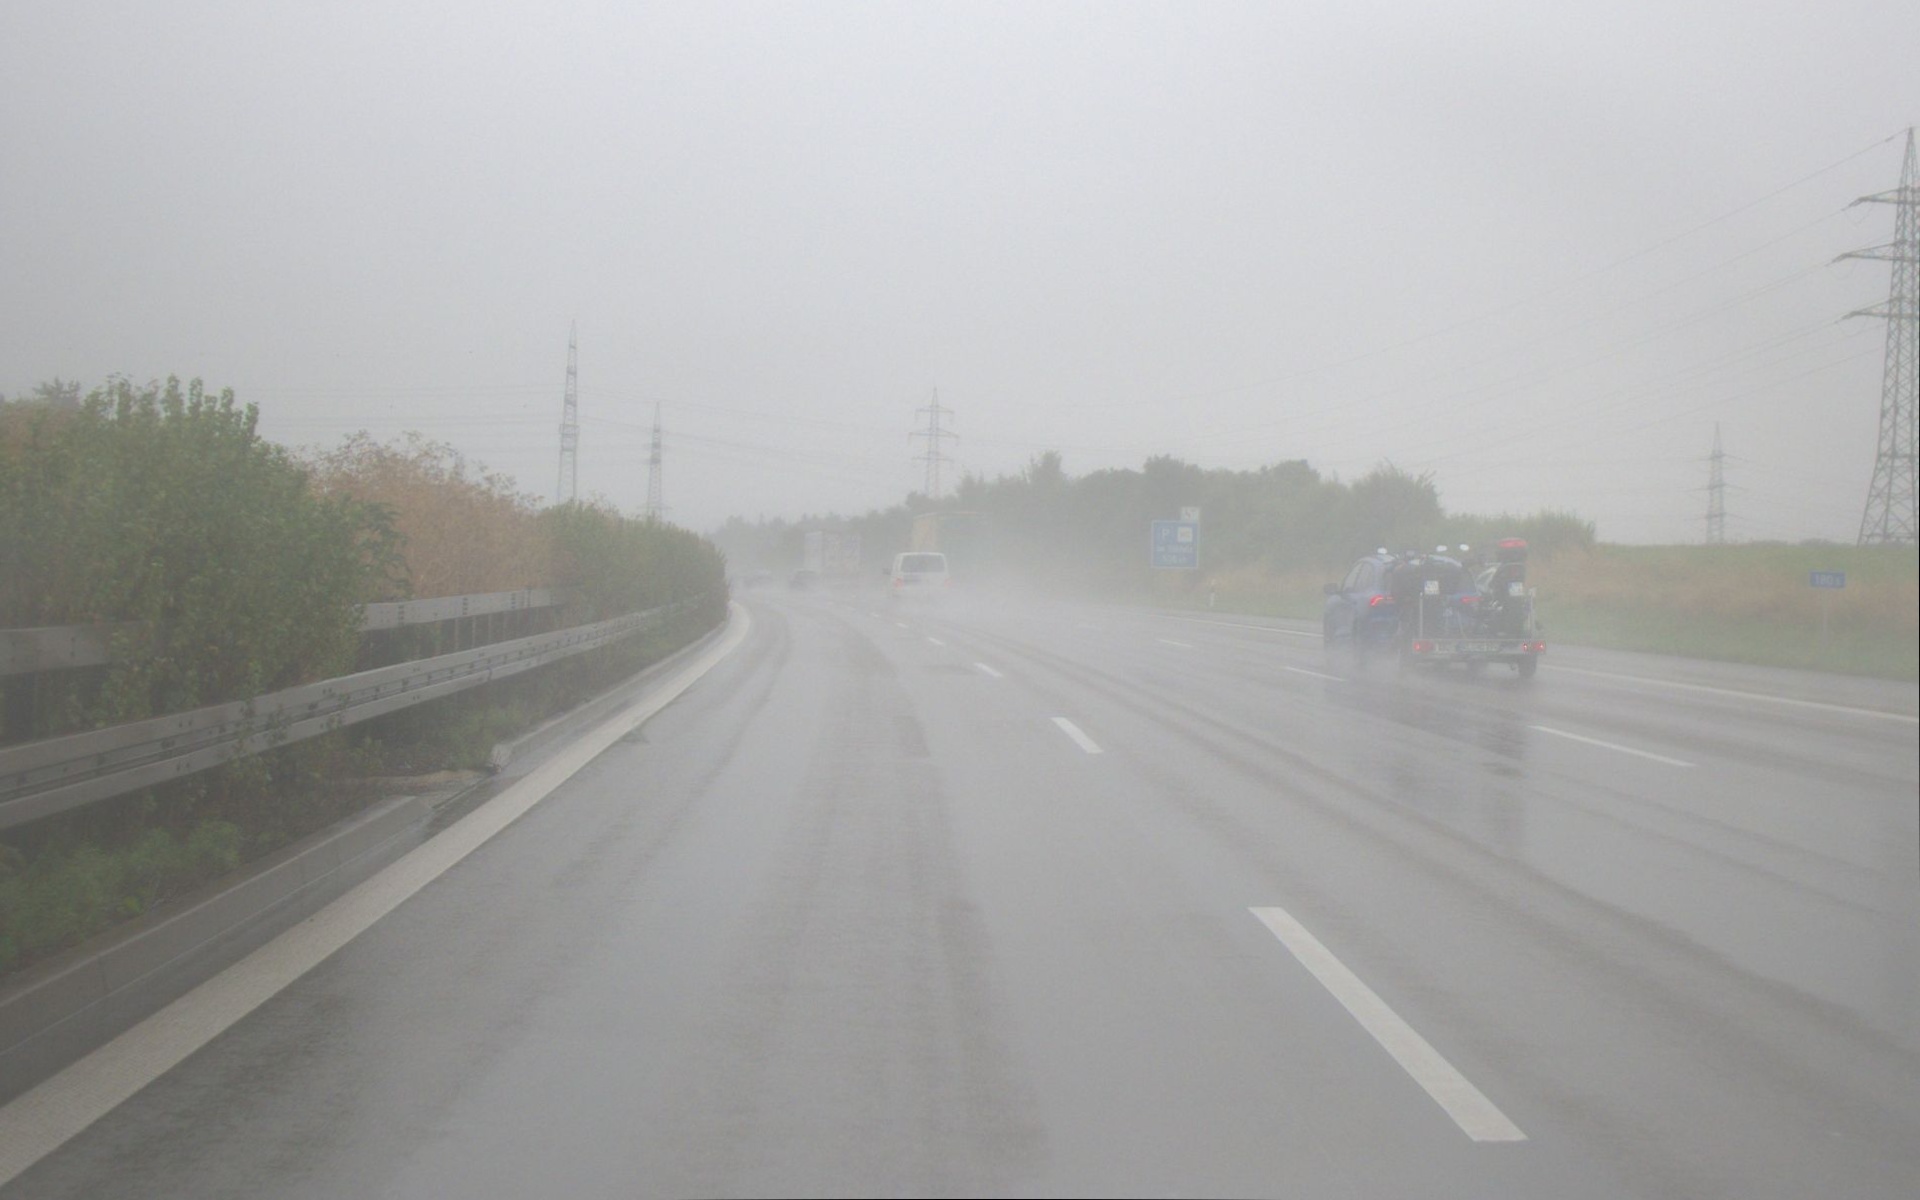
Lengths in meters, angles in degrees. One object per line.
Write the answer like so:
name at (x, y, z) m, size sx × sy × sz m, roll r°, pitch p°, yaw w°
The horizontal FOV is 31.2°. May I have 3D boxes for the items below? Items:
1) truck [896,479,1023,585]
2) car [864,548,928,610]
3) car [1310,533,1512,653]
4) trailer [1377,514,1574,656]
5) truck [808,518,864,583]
truck at (-0.171, -3.047, 161.189) m, size 4.188 × 4.614 × 16.108 m, roll 0°, pitch 0°, yaw -6°
car at (-2.156, -0.714, 115.436) m, size 1.993 × 2.007 × 4.000 m, roll 0°, pitch 1°, yaw -3°
car at (6.358, -0.087, 49.023) m, size 1.993 × 1.613 × 4.993 m, roll 0°, pitch 0°, yaw -3°
trailer at (6.693, -0.185, 44.938) m, size 1.979 × 1.779 × 3.189 m, roll 0°, pitch 0°, yaw -2°
truck at (-8.397, -3.335, 231.657) m, size 3.232 × 4.297 × 8.838 m, roll 0°, pitch 1°, yaw -5°
